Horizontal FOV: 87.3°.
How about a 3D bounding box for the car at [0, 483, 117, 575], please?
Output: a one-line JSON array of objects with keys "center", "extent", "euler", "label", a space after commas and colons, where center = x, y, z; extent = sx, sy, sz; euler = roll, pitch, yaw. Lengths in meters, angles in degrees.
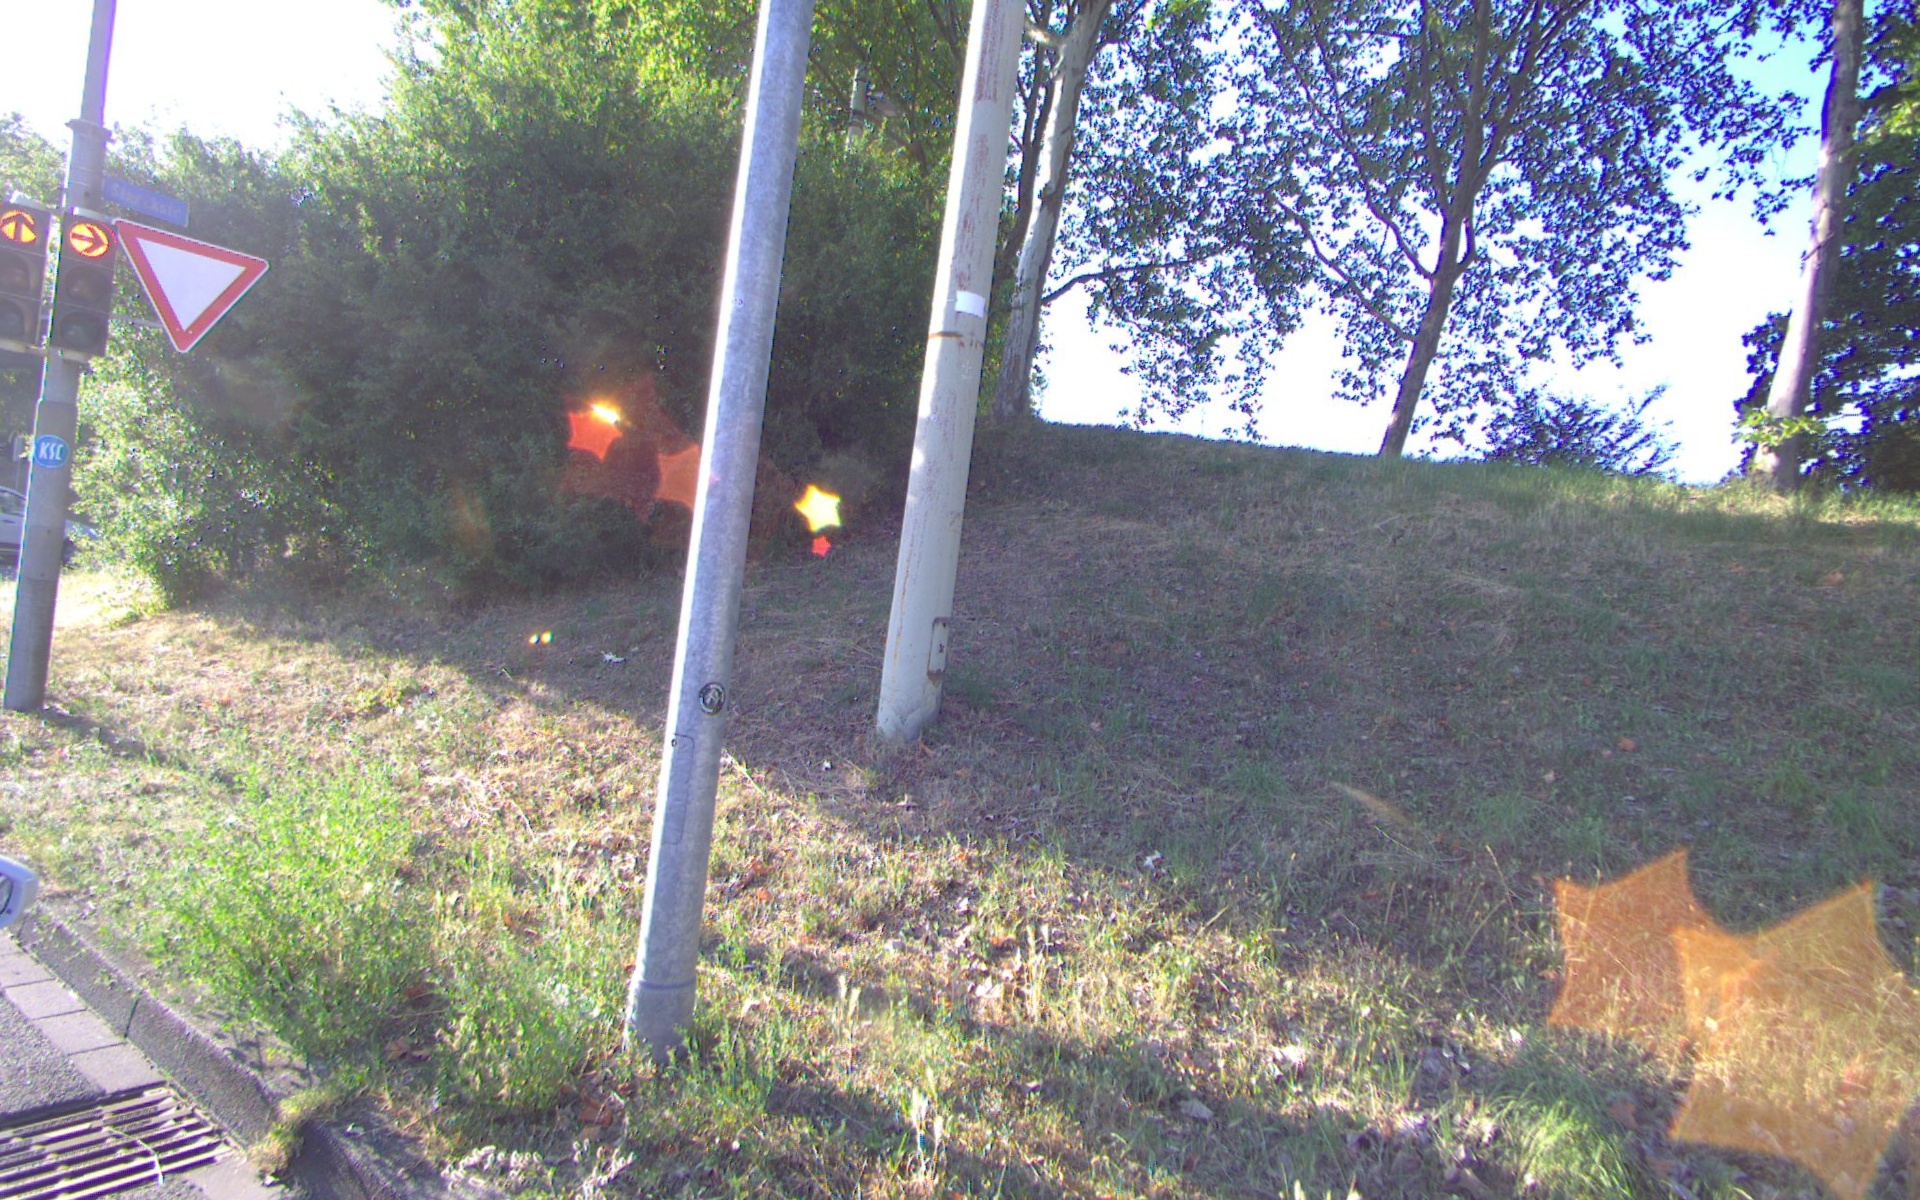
[{"center": [-19.094, -1.525, 19.469], "extent": [1.661, 1.593, 4.004], "euler": [7, -1, 10], "label": "car"}]
